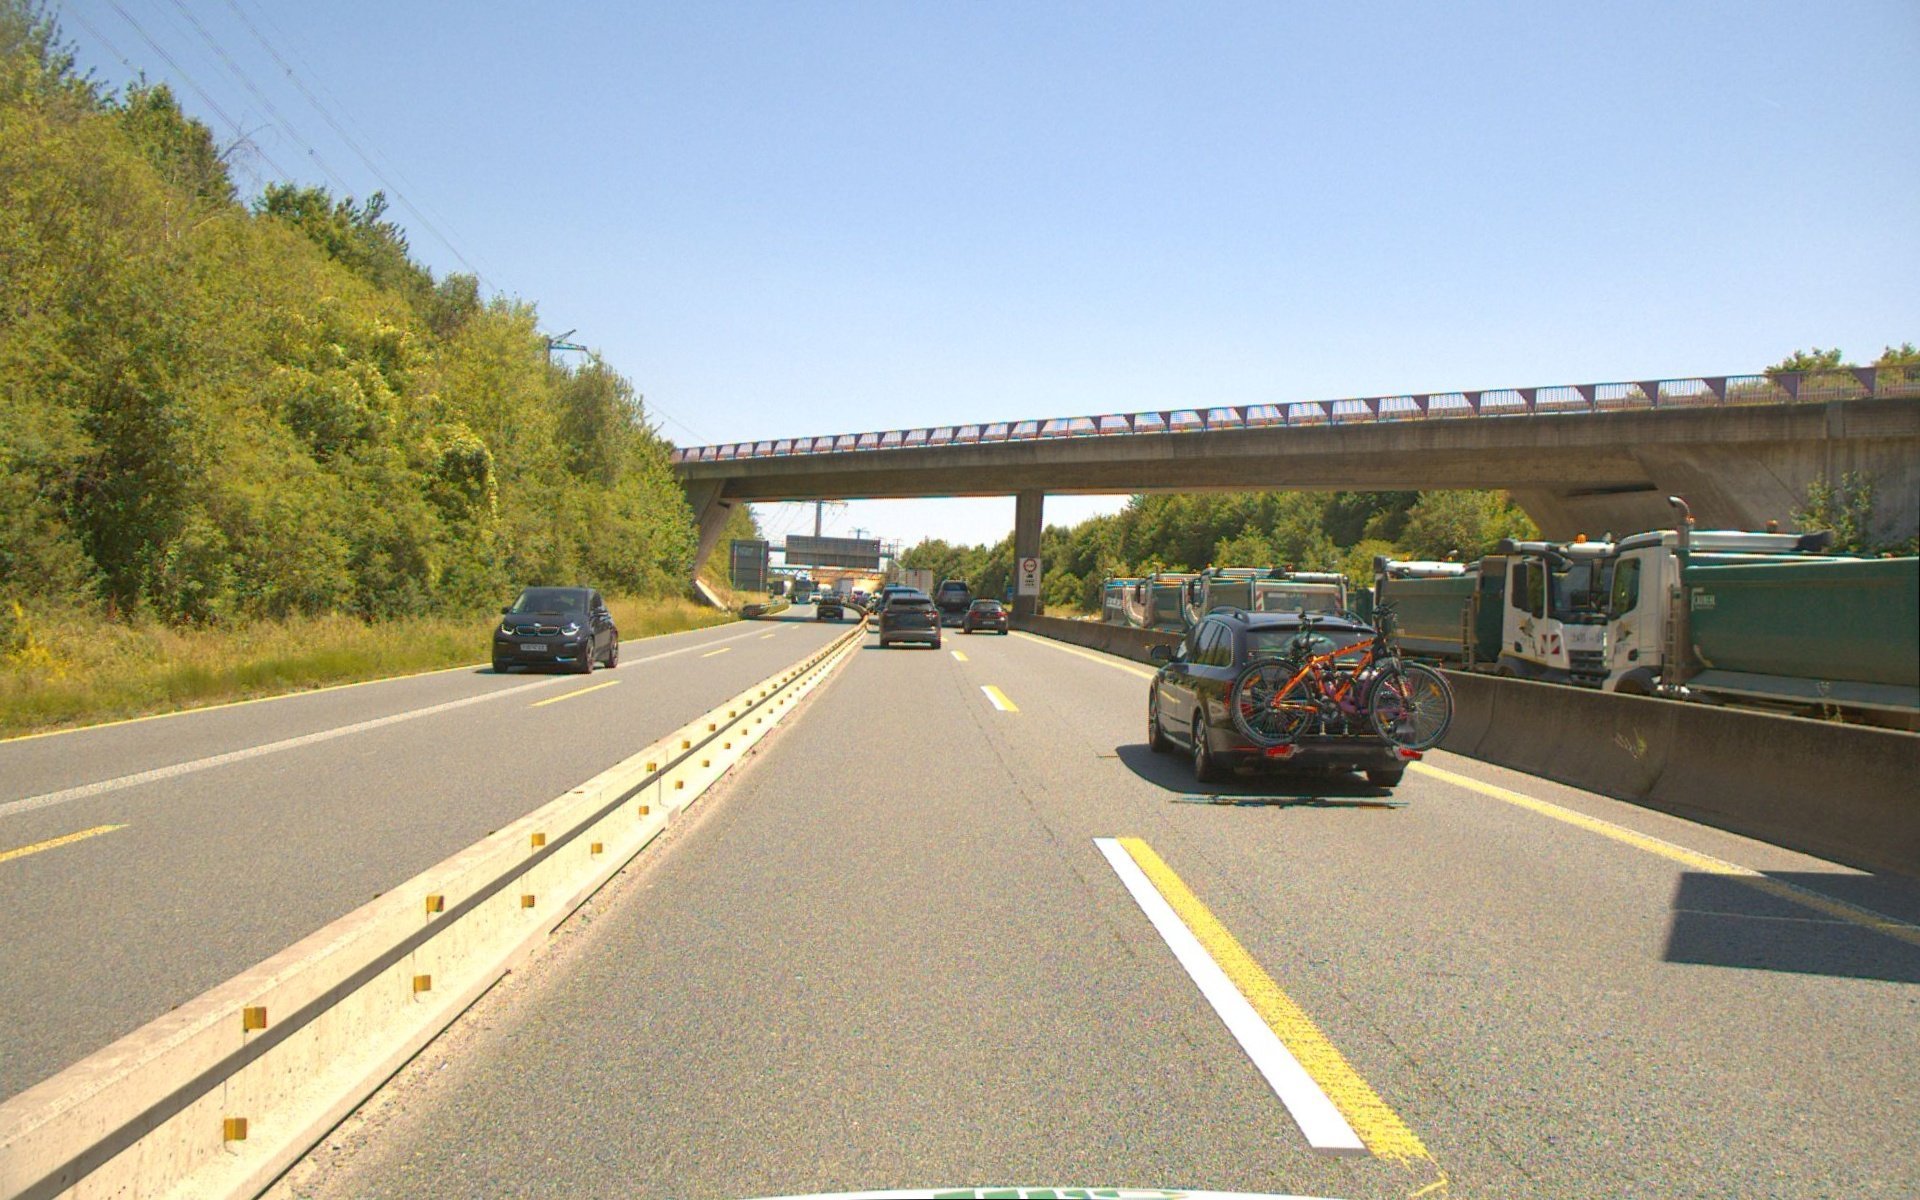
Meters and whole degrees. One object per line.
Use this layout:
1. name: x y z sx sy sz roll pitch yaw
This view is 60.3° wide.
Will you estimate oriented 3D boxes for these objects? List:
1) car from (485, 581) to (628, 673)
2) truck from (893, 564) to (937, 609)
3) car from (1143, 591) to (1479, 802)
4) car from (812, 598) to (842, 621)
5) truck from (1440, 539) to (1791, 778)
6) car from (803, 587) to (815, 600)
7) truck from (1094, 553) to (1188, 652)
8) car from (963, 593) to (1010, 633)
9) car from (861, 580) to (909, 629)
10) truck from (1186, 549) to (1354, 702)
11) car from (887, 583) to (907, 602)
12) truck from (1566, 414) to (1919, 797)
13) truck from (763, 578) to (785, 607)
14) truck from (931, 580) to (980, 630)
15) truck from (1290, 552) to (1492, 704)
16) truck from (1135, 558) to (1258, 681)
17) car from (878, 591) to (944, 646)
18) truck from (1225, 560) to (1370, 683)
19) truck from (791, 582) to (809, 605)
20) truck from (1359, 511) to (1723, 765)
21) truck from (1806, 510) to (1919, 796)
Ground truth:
1. car: -7.596 0.473 31.481 1.742 1.604 4.068 1 0 -1
2. truck: -4.198 -1.190 151.848 3.229 3.912 10.096 1 0 -6
3. car: 2.866 0.729 14.668 1.860 1.516 4.946 1 0 -1
4. car: -8.425 0.586 104.923 1.640 1.418 4.069 1 0 -2
5. truck: 11.960 0.941 31.414 2.633 3.826 9.321 1 0 -2
6. car: -23.360 -1.026 256.359 1.728 1.870 3.994 1 0 -6
7. truck: 7.588 0.084 70.615 2.633 3.910 9.321 1 0 -2
8. car: 1.118 0.554 70.640 1.860 1.613 4.275 1 0 -1
9. car: -3.163 0.199 70.608 1.860 2.003 4.275 1 0 -1
10. truck: 8.504 0.644 46.679 2.633 3.826 9.321 1 0 -2
11. car: -7.109 -0.826 187.044 1.863 2.003 4.270 1 0 -7
12. truck: 10.239 0.062 19.193 2.633 3.619 9.321 1 0 -2
13. truck: -21.897 -0.916 195.342 2.460 3.242 10.096 1 0 -6
14. truck: -0.304 0.229 90.260 2.357 2.603 7.496 1 0 -2
15. truck: 11.355 0.675 44.624 2.633 3.619 9.321 1 0 -2
16. truck: 8.150 0.612 58.134 2.633 3.923 9.321 1 0 -2
17. car: -1.436 0.536 49.472 1.860 1.531 4.275 1 0 -1
18. truck: 11.306 0.655 56.363 2.633 3.792 9.321 1 0 -2
19. truck: -23.315 -0.887 240.525 2.460 3.242 10.096 1 0 -6
20. truck: 9.517 0.546 28.531 2.633 3.619 9.321 1 0 -2
21. truck: 12.972 0.664 17.597 2.633 3.437 9.598 1 0 -3
